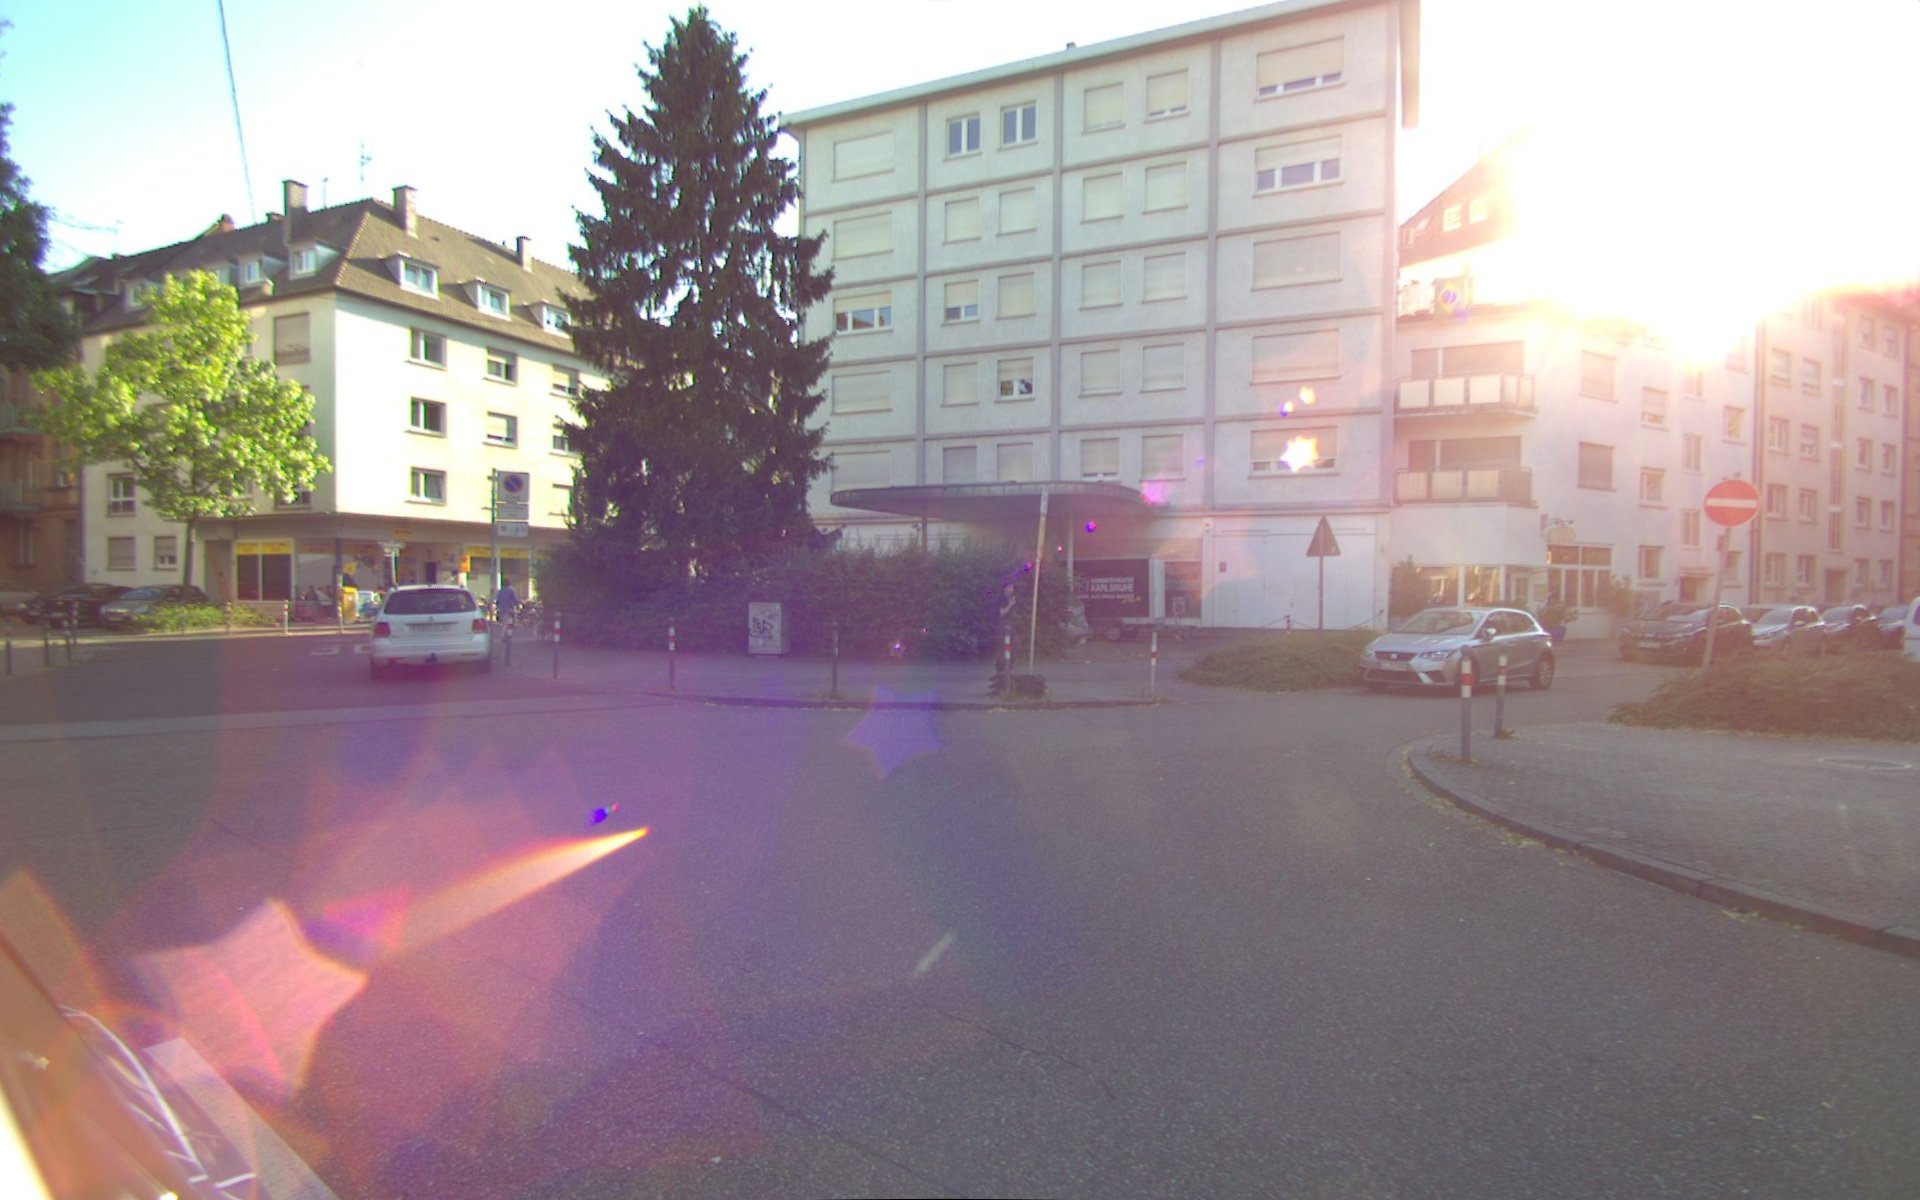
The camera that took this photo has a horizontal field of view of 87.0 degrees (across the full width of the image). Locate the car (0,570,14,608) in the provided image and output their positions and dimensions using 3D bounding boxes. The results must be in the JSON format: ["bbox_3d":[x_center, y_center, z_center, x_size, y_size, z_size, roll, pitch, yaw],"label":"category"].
[{"bbox_3d":[-41.725,-0.449,41.745,1.845,1.648,4.004,0,1,-5],"label":"car"}]

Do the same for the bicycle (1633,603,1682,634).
[{"bbox_3d":[23.940,0.615,34.735,2.138,1.011,0.535,0,1,-31],"label":"bicycle"}]

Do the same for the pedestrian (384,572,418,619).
[{"bbox_3d":[-22.633,-0.189,40.985,0.847,1.889,0.884,0,1,25],"label":"pedestrian"}]

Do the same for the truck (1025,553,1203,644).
[{"bbox_3d":[4.600,-0.077,30.373,4.943,2.554,1.983,1,1,25],"label":"truck"}]

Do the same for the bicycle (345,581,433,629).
[{"bbox_3d":[-18.829,0.140,33.337,3.364,1.456,0.873,2,1,28],"label":"bicycle"}]

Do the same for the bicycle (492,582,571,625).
[{"bbox_3d":[-16.605,0.112,39.139,3.364,1.456,0.873,3,2,28],"label":"bicycle"}]

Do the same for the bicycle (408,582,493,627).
[{"bbox_3d":[-17.921,0.138,35.578,3.364,1.456,0.873,2,1,28],"label":"bicycle"}]

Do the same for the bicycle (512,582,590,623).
[{"bbox_3d":[-16.173,0.065,39.979,3.364,1.456,0.873,3,2,28],"label":"bicycle"}]

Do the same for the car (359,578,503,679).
[{"bbox_3d":[-8.921,0.378,17.064,1.890,1.461,4.309,-1,1,-28],"label":"car"}]

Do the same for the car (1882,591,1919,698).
[{"bbox_3d":[15.704,0.600,14.159,1.585,1.665,4.241,-1,-3,-1],"label":"car"}]

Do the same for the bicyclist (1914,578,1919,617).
[{"bbox_3d":[40.864,-0.096,42.719,0.711,1.629,0.716,0,1,-31],"label":"bicyclist"}]

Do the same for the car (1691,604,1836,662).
[{"bbox_3d":[22.124,0.854,27.836,3.931,1.457,1.722,0,0,-29],"label":"car"}]

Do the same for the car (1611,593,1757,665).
[{"bbox_3d":[18.330,0.678,25.589,3.933,1.686,1.721,0,0,-34],"label":"car"}]

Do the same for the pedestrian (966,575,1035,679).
[{"bbox_3d":[0.709,0.454,17.773,0.856,1.749,0.833,0,2,-32],"label":"pedestrian"}]

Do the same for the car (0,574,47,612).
[{"bbox_3d":[-38.924,-0.279,40.227,1.845,1.516,4.004,0,1,-5],"label":"car"}]

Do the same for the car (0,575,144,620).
[{"bbox_3d":[-33.348,-0.104,38.025,1.853,1.580,3.988,0,1,10],"label":"car"}]

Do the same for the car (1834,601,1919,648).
[{"bbox_3d":[30.857,0.772,33.438,3.931,1.457,1.722,0,0,-29],"label":"car"}]

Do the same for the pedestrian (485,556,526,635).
[{"bbox_3d":[-11.925,-0.126,26.532,0.848,2.029,0.989,0,1,-32],"label":"pedestrian"}]

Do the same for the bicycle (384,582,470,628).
[{"bbox_3d":[-18.189,0.150,34.505,3.364,1.456,0.873,2,1,28],"label":"bicycle"}]

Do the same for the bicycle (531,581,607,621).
[{"bbox_3d":[-15.804,0.032,40.851,3.364,1.456,0.873,3,2,28],"label":"bicycle"}]

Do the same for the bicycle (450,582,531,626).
[{"bbox_3d":[-17.456,0.140,37.583,3.364,1.456,0.873,3,2,28],"label":"bicycle"}]

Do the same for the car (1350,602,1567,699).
[{"bbox_3d":[8.641,0.789,17.441,3.934,1.457,1.720,0,0,-36],"label":"car"}]

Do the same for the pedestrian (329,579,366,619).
[{"bbox_3d":[-24.451,-0.036,40.399,0.886,1.581,0.955,0,1,26],"label":"pedestrian"}]

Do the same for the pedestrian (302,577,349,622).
[{"bbox_3d":[-24.491,-0.031,39.064,0.958,1.679,1.205,0,1,25],"label":"pedestrian"}]

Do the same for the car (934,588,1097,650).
[{"bbox_3d":[1.509,0.465,27.521,3.982,1.544,1.981,1,1,29],"label":"car"}]

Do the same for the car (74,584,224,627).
[{"bbox_3d":[-28.339,0.167,35.538,1.851,1.410,3.991,0,1,7],"label":"car"}]

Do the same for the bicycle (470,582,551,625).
[{"bbox_3d":[-17.037,0.113,38.333,3.364,1.456,0.873,3,2,28],"label":"bicycle"}]

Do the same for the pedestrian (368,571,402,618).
[{"bbox_3d":[-23.431,-0.224,41.234,0.847,1.889,0.884,0,1,25],"label":"pedestrian"}]

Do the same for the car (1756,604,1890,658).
[{"bbox_3d":[25.615,0.875,30.021,3.931,1.457,1.722,0,0,-29],"label":"car"}]

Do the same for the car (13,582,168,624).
[{"bbox_3d":[-30.752,0.088,35.961,1.851,1.410,3.991,0,1,7],"label":"car"}]

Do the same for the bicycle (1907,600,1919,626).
[{"bbox_3d":[40.892,0.531,42.736,2.307,1.059,0.716,0,1,-31],"label":"bicycle"}]
